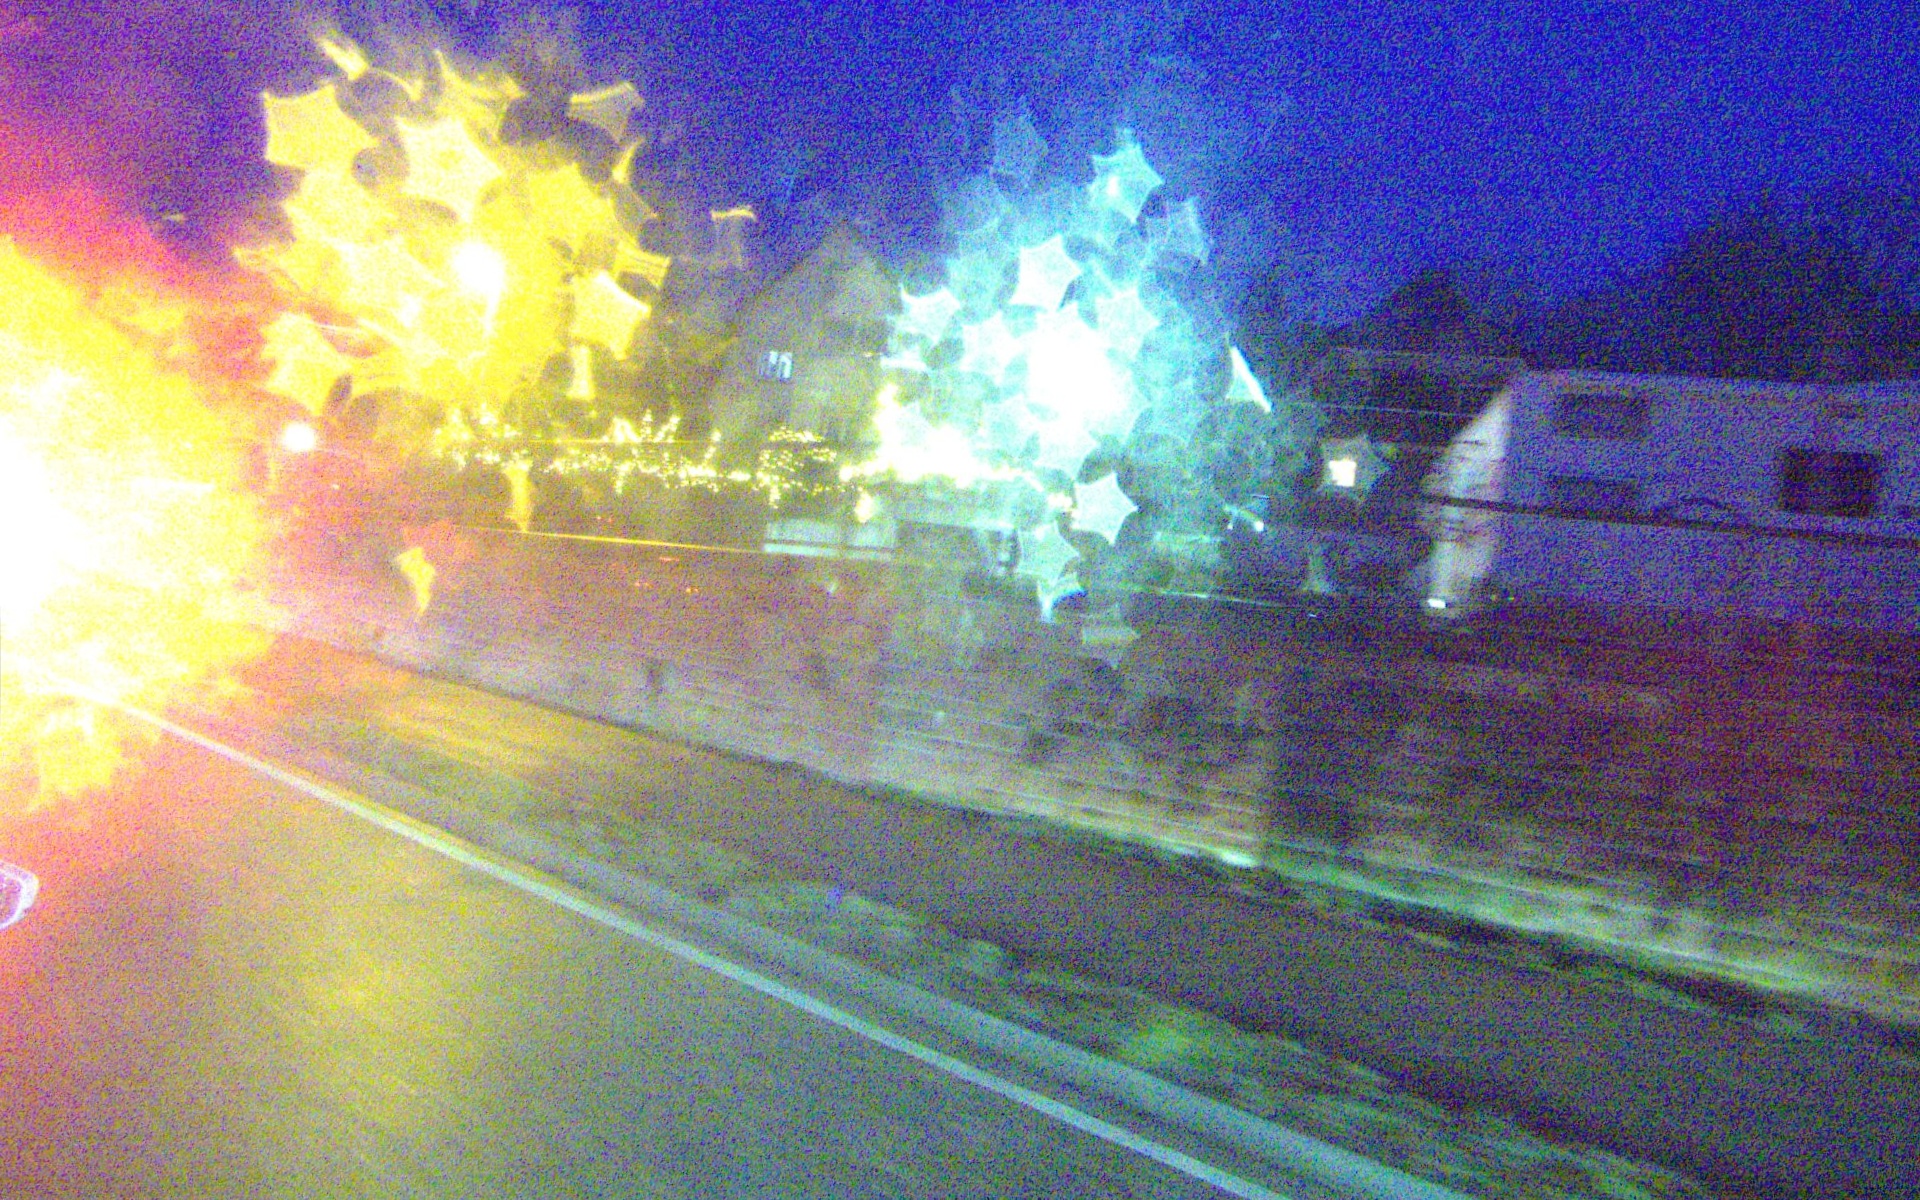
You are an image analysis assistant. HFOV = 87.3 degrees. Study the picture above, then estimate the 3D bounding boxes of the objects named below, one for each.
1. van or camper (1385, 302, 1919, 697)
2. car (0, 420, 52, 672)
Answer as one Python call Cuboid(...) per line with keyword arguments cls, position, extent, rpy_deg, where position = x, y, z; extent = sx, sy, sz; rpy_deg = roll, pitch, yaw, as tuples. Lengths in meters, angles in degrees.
Cuboid(cls="van or camper", position=(7.860, -0.783, 9.712), extent=(6.237, 2.943, 2.590), rpy_deg=(7, 0, 12))
Cuboid(cls="car", position=(-9.756, -0.713, 8.547), extent=(4.150, 1.995, 1.945), rpy_deg=(7, -1, 34))
